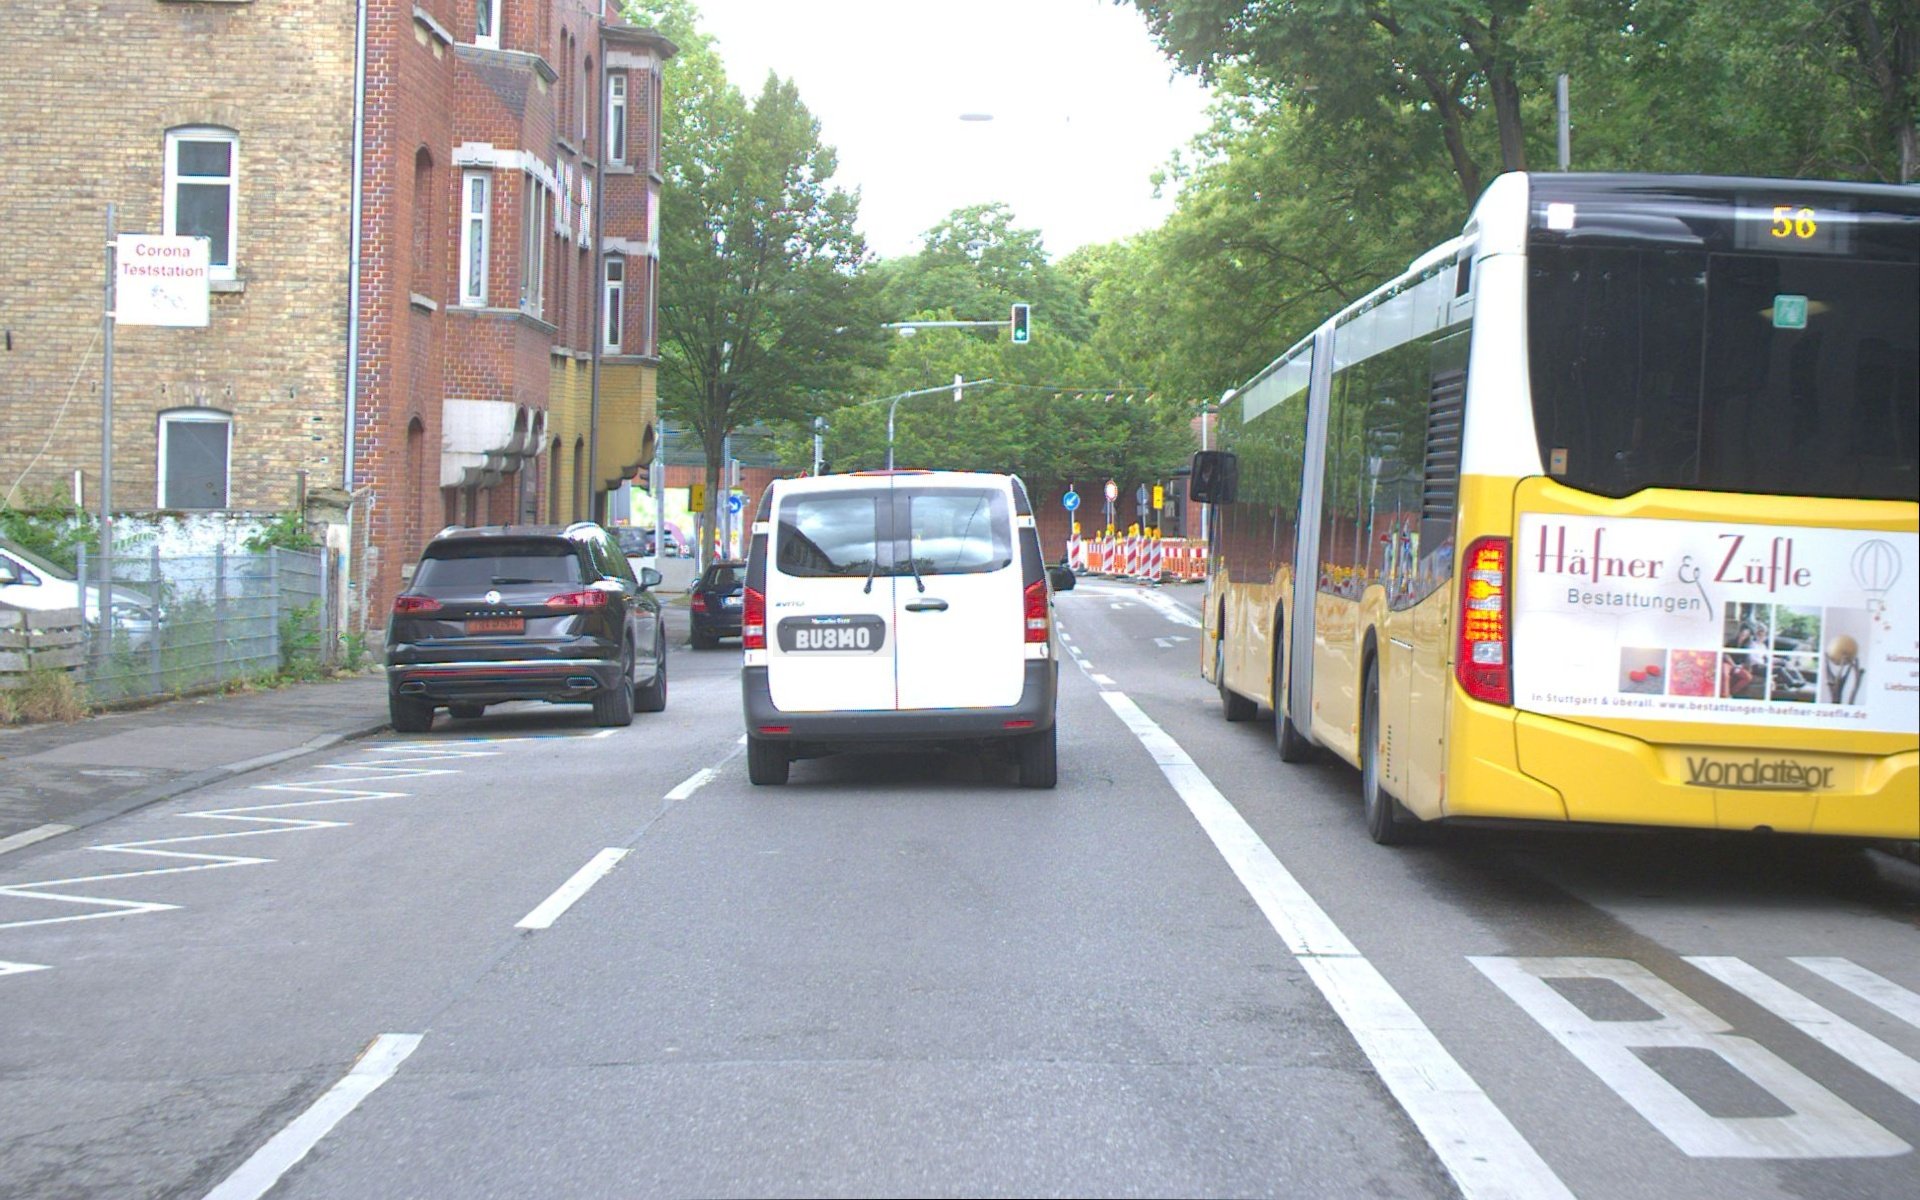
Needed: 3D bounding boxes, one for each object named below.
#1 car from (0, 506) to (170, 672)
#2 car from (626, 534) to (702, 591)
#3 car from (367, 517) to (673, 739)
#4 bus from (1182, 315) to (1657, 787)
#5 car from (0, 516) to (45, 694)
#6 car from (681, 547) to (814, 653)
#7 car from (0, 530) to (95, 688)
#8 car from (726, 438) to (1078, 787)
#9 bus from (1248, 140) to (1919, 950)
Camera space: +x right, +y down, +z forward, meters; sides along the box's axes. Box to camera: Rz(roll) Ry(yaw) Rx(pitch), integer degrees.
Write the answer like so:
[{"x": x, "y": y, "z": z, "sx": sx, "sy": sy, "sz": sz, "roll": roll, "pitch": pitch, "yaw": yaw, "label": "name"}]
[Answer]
[{"x": -9.966, "y": -0.099, "z": 34.611, "sx": 3.596, "sy": 1.606, "sz": 1.688, "roll": -1, "pitch": 1, "yaw": 1, "label": "car"}, {"x": -8.744, "y": -1.115, "z": 101.279, "sx": 2.036, "sy": 1.480, "sz": 4.392, "roll": 1, "pitch": 3, "yaw": -7, "label": "car"}, {"x": -3.679, "y": 0.170, "z": 29.566, "sx": 1.954, "sy": 1.728, "sz": 4.774, "roll": 1, "pitch": 1, "yaw": 1, "label": "car"}, {"x": 3.453, "y": -0.405, "z": 28.256, "sx": 2.672, "sy": 3.128, "sz": 9.218, "roll": 3, "pitch": 1, "yaw": 1, "label": "bus"}, {"x": -9.896, "y": 0.064, "z": 29.438, "sx": 3.596, "sy": 1.499, "sz": 1.853, "roll": -1, "pitch": 1, "yaw": 1, "label": "car"}, {"x": -3.425, "y": -0.037, "z": 55.949, "sx": 1.725, "sy": 1.480, "sz": 4.390, "roll": 1, "pitch": 3, "yaw": 2, "label": "car"}, {"x": -9.948, "y": 0.093, "z": 31.556, "sx": 3.596, "sy": 1.410, "sz": 1.547, "roll": -1, "pitch": 1, "yaw": 1, "label": "car"}, {"x": -0.373, "y": 0.114, "z": 22.002, "sx": 1.917, "sy": 1.895, "sz": 4.701, "roll": 3, "pitch": -1, "yaw": -1, "label": "car"}, {"x": 3.309, "y": -0.277, "z": 18.647, "sx": 2.663, "sy": 3.125, "sz": 10.040, "roll": 3, "pitch": 1, "yaw": 1, "label": "bus"}]
